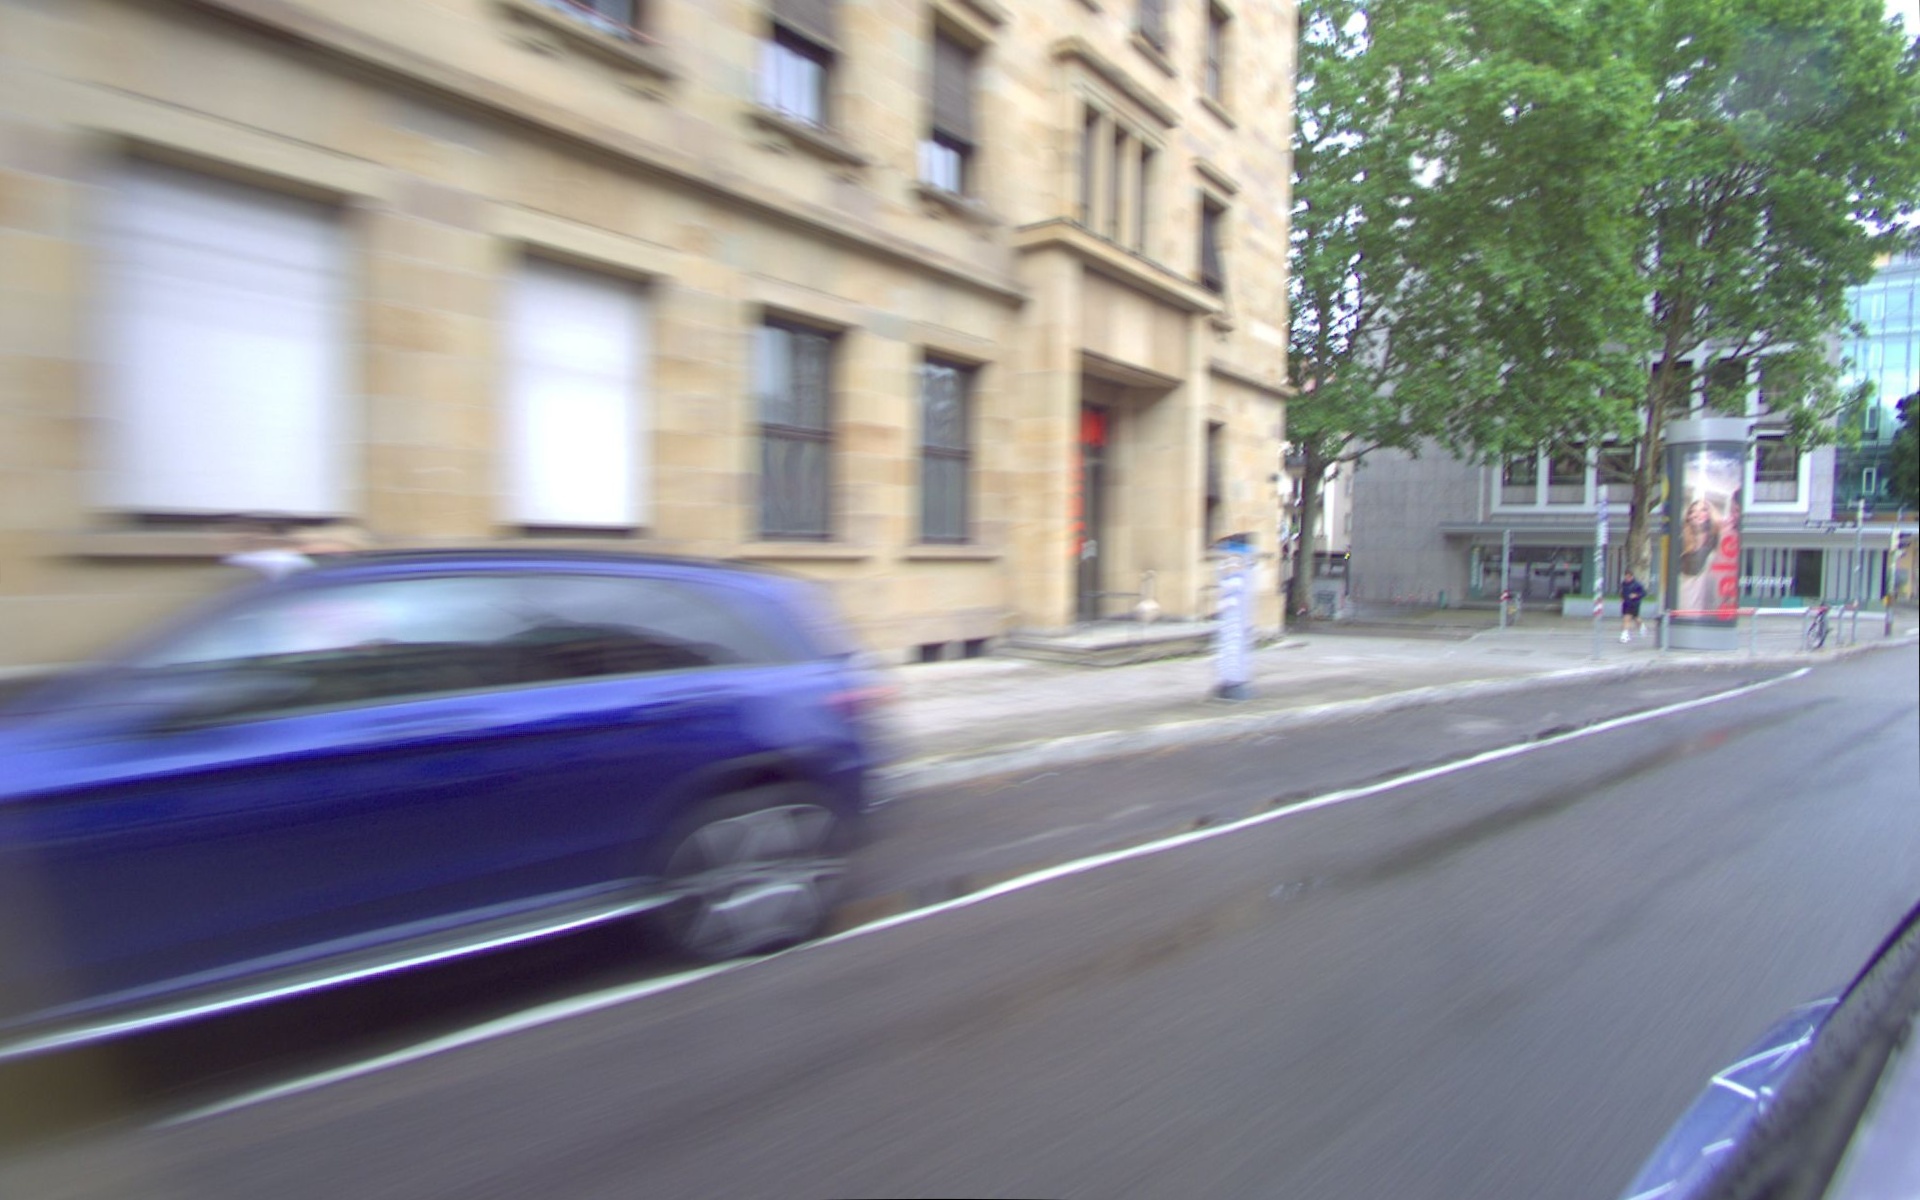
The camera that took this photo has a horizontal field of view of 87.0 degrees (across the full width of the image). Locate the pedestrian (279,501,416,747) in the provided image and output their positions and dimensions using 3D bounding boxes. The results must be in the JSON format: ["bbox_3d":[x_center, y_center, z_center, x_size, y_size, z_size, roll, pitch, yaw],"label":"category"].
[{"bbox_3d":[-3.999,0.133,6.613,0.524,1.510,0.663,3,2,44],"label":"pedestrian"}]

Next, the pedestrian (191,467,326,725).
[{"bbox_3d":[-4.689,-0.039,6.771,0.524,1.622,0.663,3,2,44],"label":"pedestrian"}]

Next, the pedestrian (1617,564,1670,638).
[{"bbox_3d":[17.012,0.009,25.186,0.846,1.793,0.782,0,2,-36],"label":"pedestrian"}]

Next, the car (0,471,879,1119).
[{"bbox_3d":[-2.454,0.450,3.724,4.087,1.639,1.771,-1,3,-43],"label":"car"}]

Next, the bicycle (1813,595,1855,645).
[{"bbox_3d":[19.006,0.416,22.007,1.896,1.025,0.489,-1,2,-44],"label":"bicycle"}]
